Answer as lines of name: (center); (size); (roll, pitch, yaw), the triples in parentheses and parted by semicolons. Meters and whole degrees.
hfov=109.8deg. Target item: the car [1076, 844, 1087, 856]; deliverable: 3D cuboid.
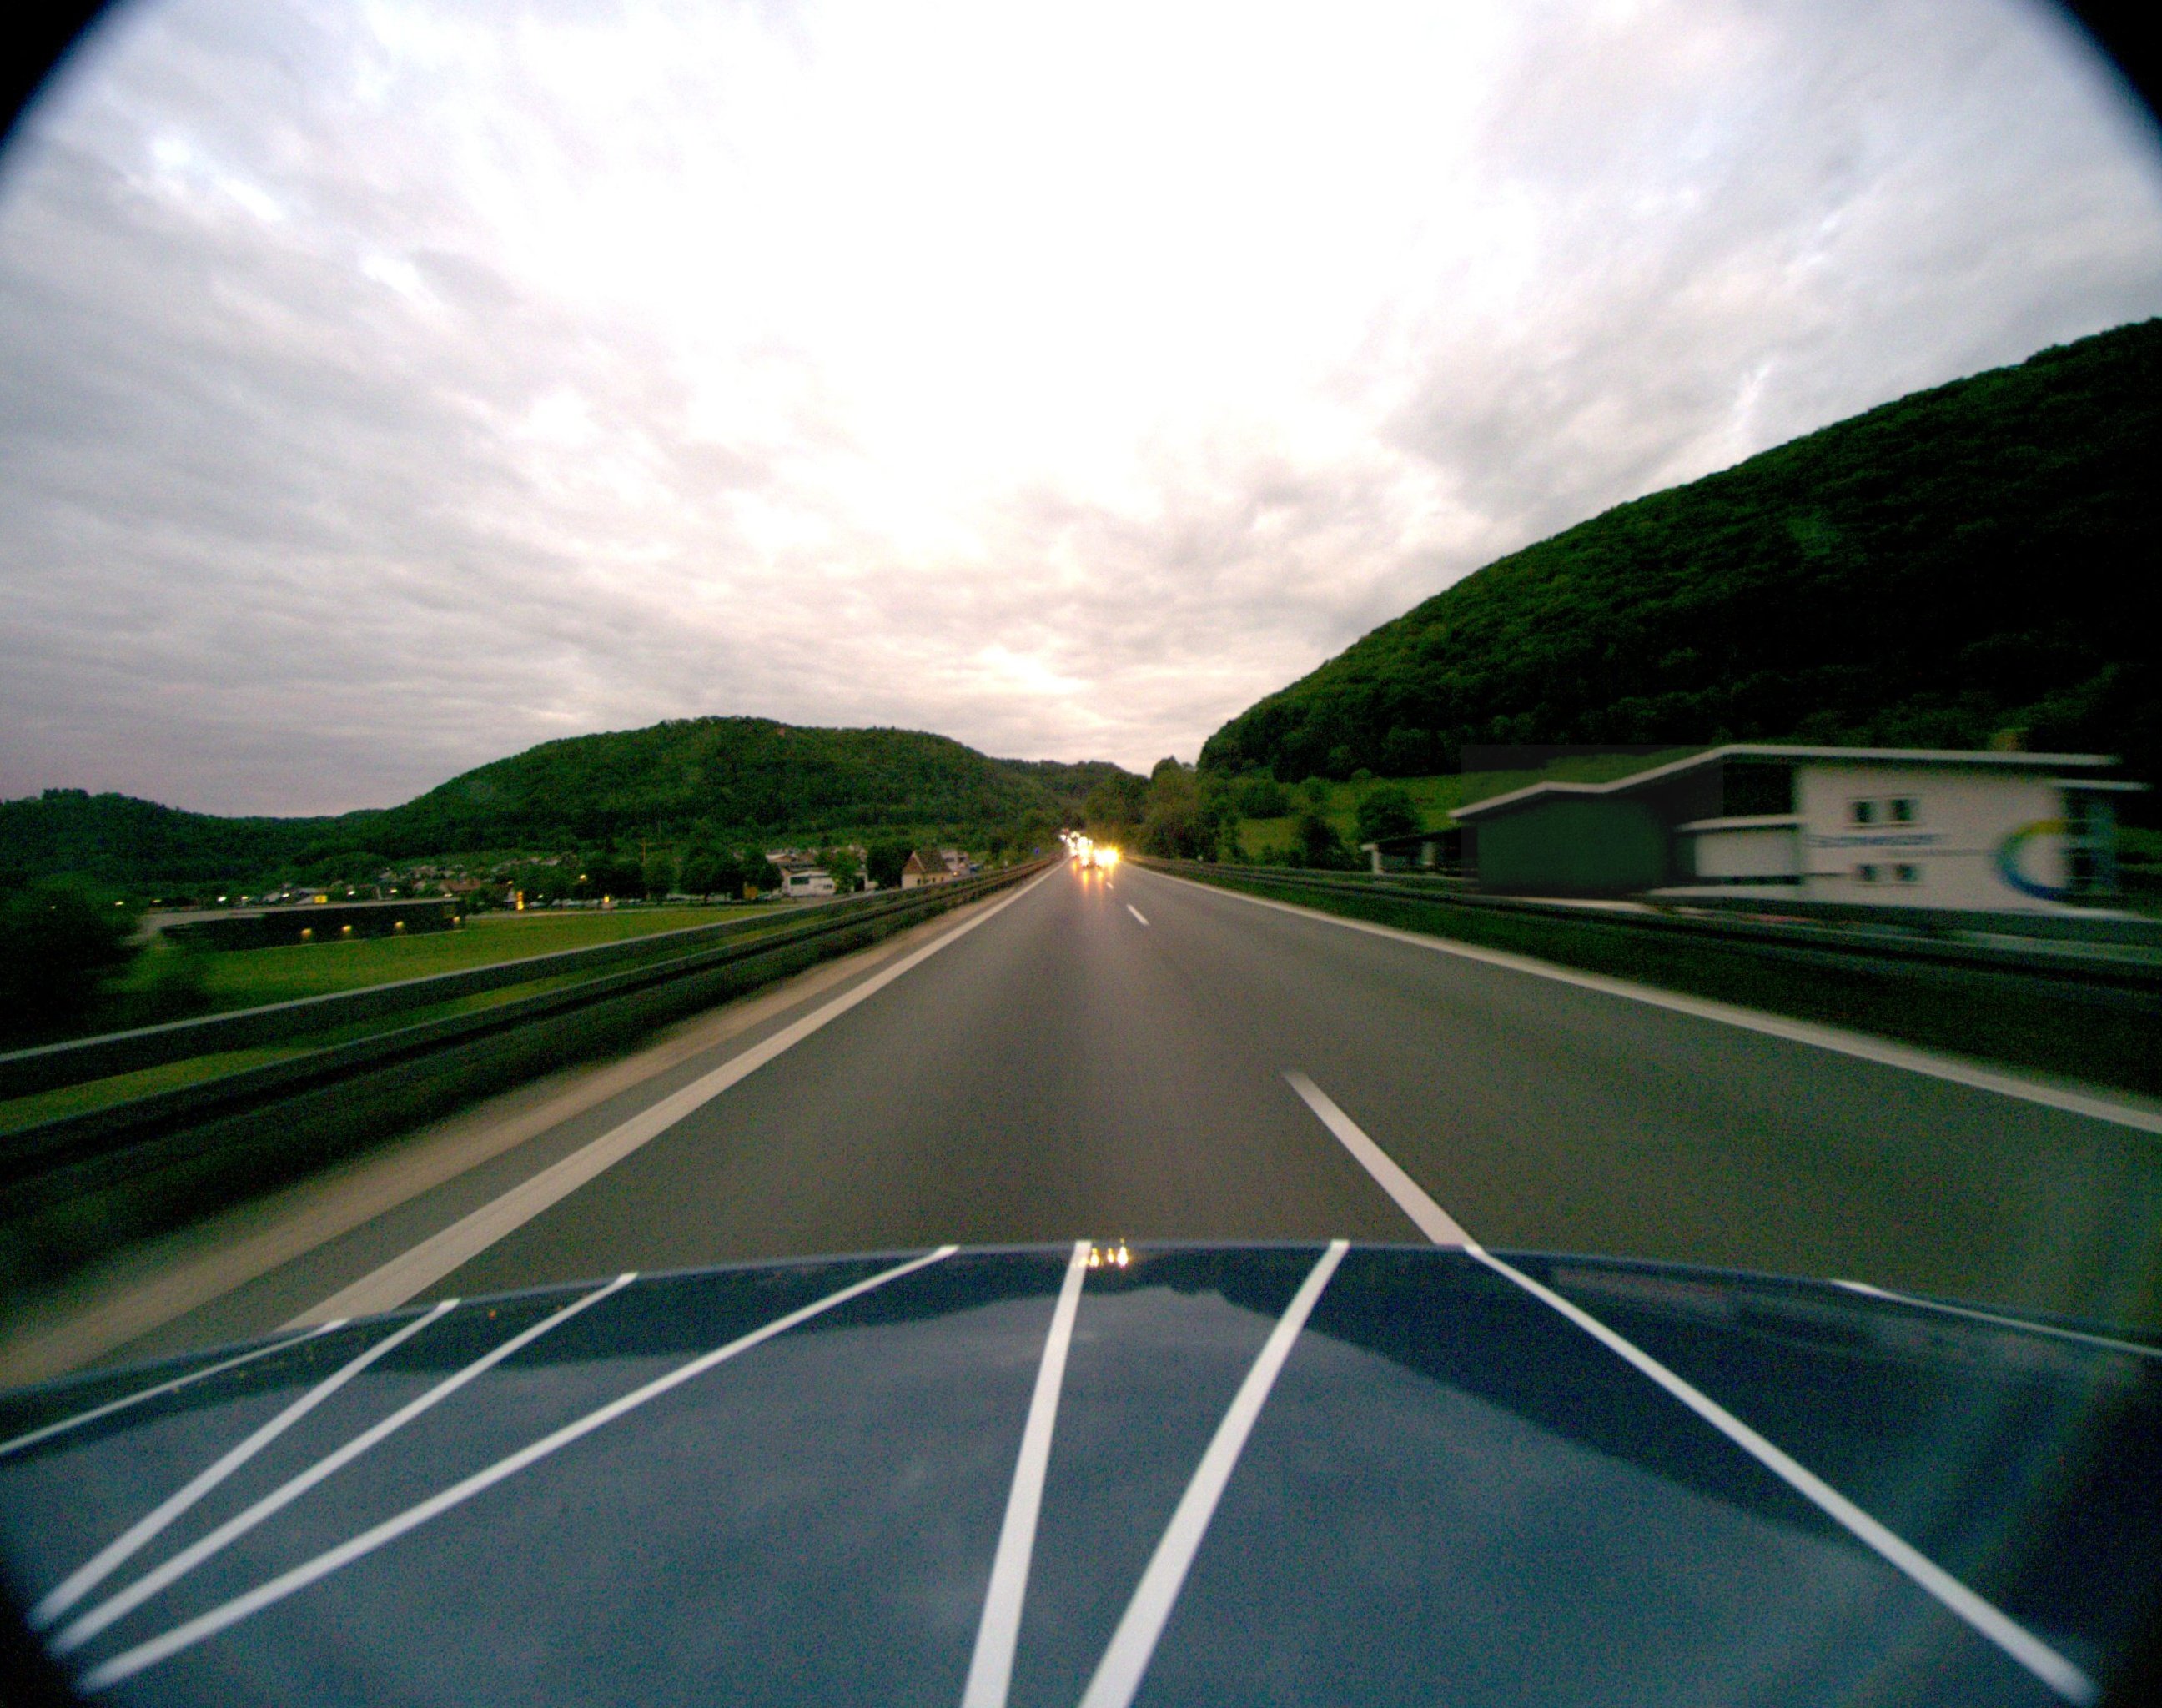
car: (0.126, -0.618, 119.545); (1.737, 1.640, 3.670); (-1, -3, 0)

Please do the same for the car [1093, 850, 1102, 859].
car: (2.989, 0.039, 137.675); (1.690, 1.424, 3.670); (-1, -3, 0)

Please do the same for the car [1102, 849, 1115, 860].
car: (3.788, 0.078, 105.678); (1.690, 1.459, 3.769); (-1, -3, -1)

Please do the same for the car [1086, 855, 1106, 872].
car: (1.354, 0.921, 69.602); (1.690, 1.442, 3.670); (-1, -3, 0)

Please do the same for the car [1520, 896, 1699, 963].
car: (15.535, 2.222, 22.519); (3.995, 1.683, 1.773); (-2, 1, 5)
